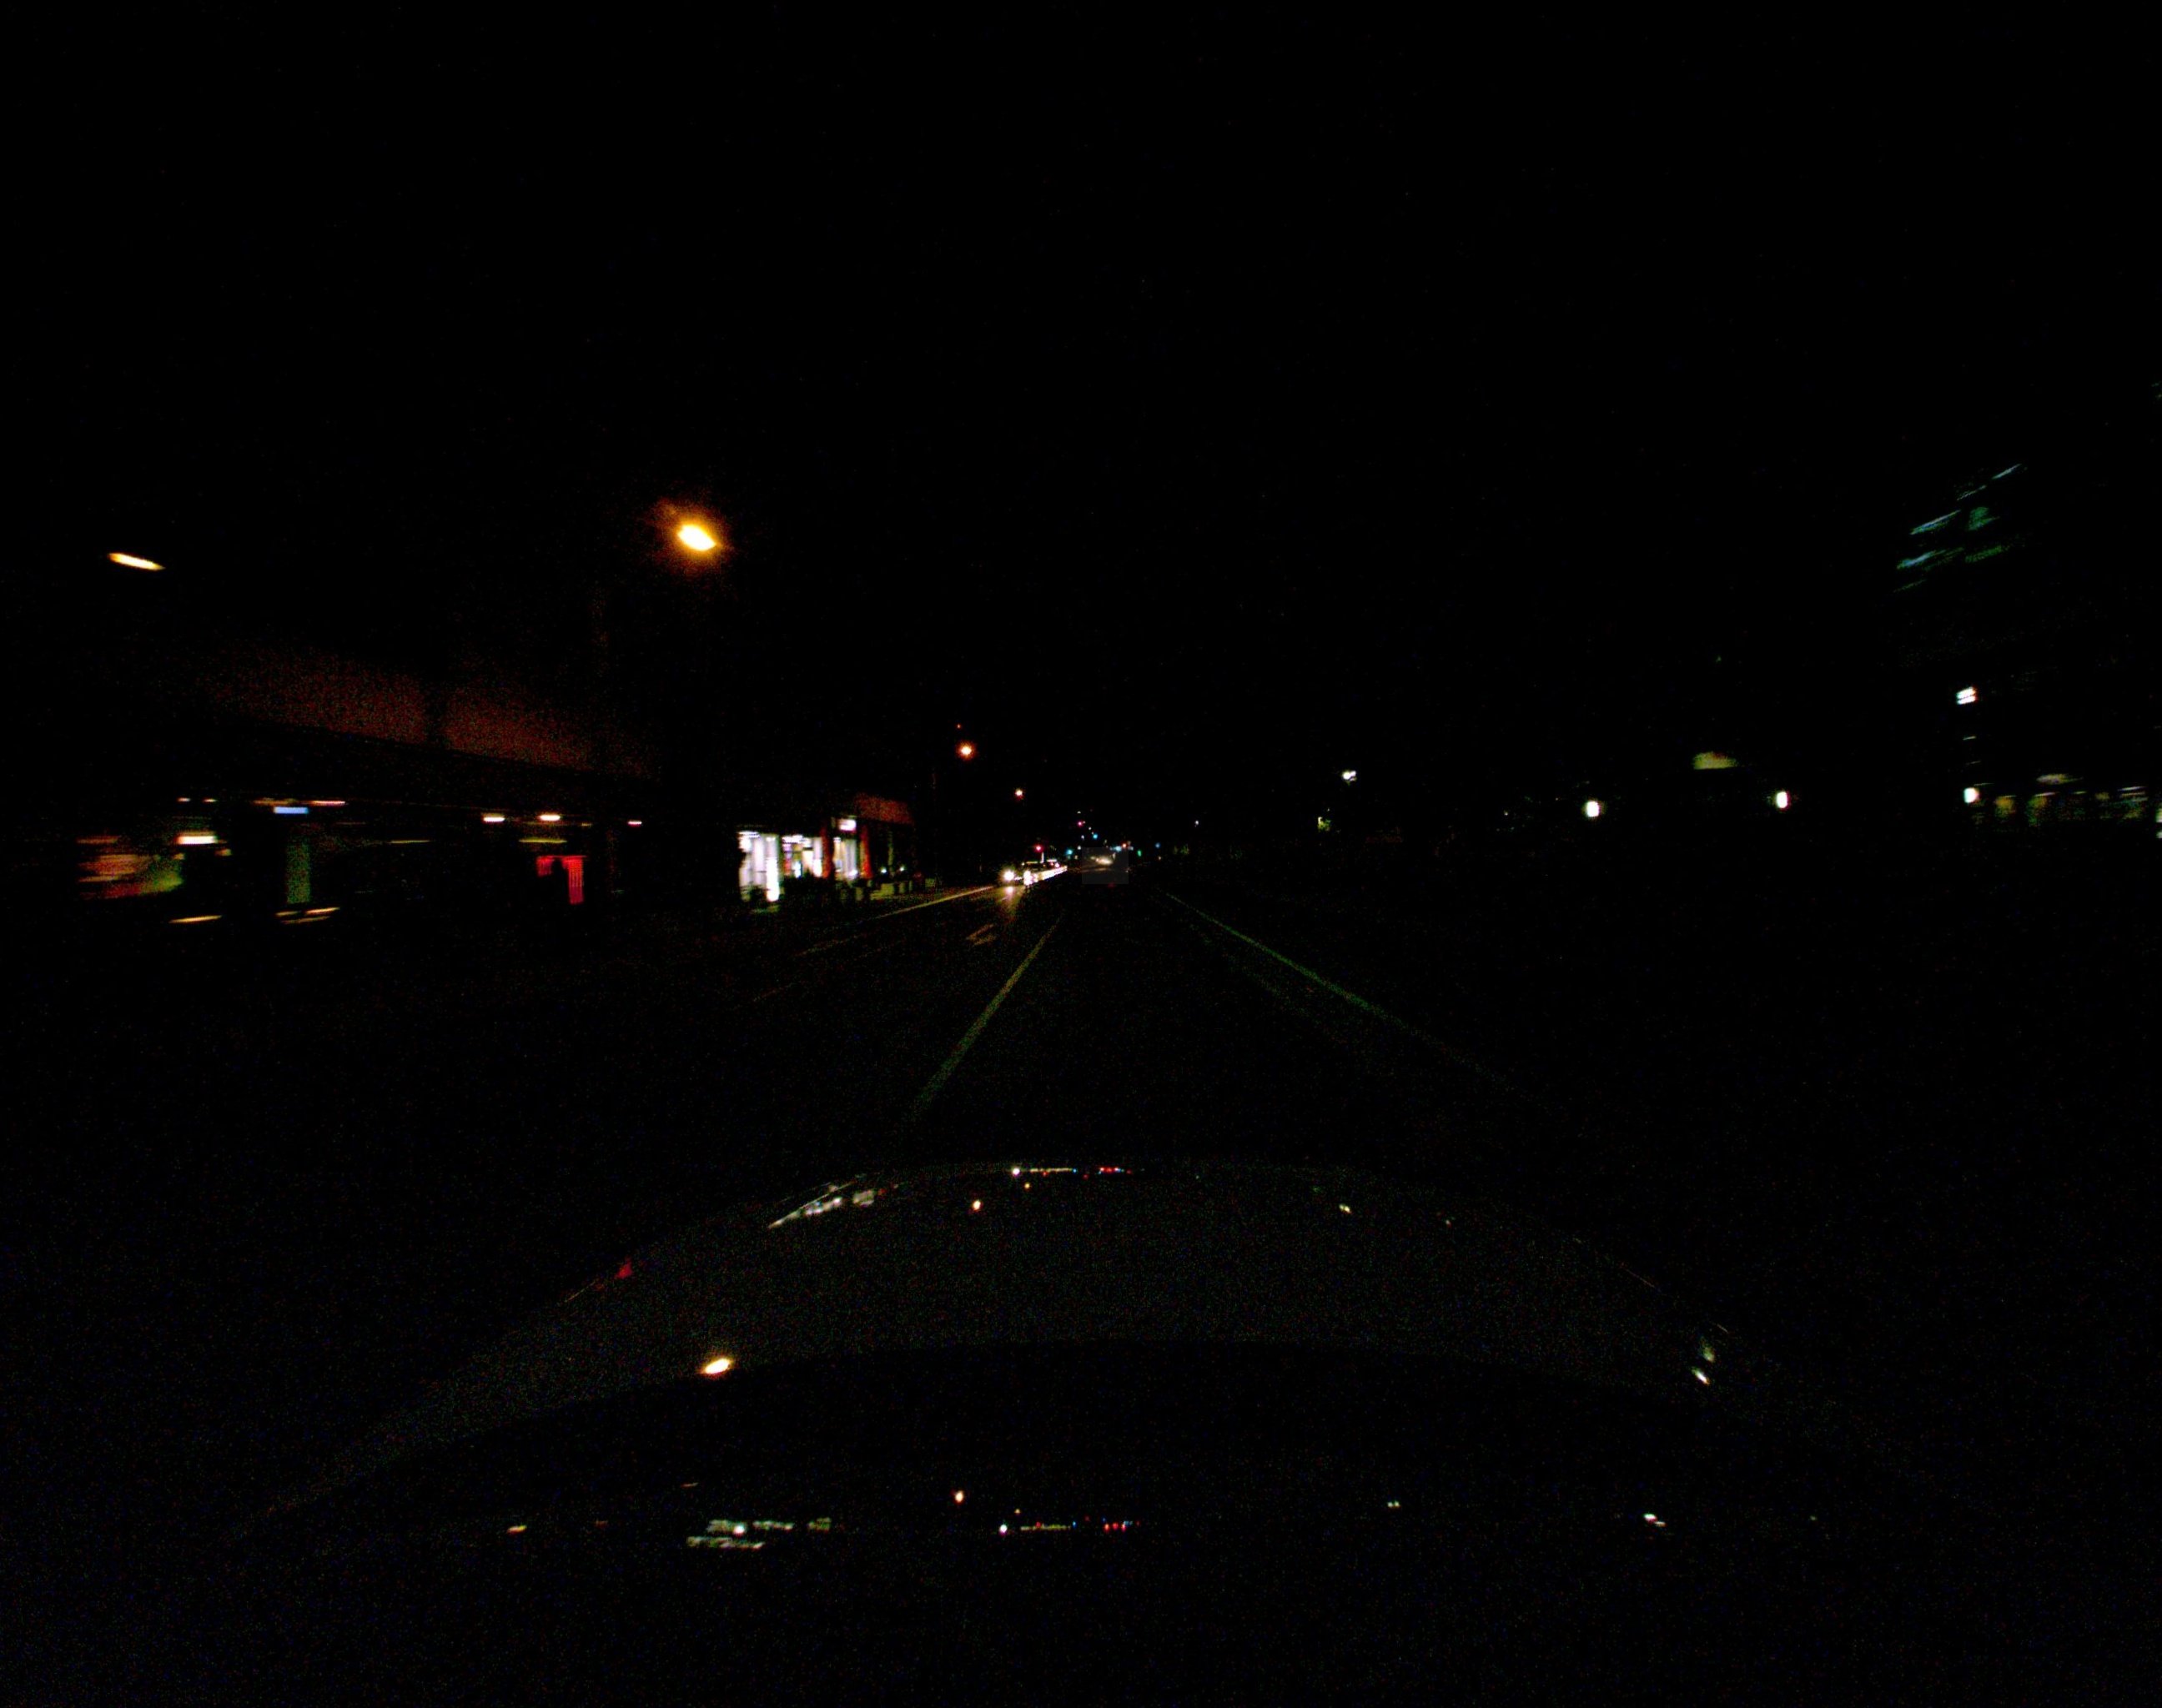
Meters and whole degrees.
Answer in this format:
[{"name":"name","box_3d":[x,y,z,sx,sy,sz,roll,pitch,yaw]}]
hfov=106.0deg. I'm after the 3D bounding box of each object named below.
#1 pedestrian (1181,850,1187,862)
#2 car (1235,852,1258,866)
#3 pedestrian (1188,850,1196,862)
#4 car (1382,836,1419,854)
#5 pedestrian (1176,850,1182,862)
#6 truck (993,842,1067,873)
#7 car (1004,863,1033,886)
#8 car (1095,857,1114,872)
[{"name":"pedestrian","box_3d":[15.805,0.332,124.531,0.736,1.769,0.907,-3,0,1]},{"name":"car","box_3d":[17.446,0.519,86.165,1.507,1.395,4.482,-3,-1,1]},{"name":"pedestrian","box_3d":[16.996,0.295,124.526,0.899,1.769,0.906,-3,0,-4]},{"name":"car","box_3d":[28.644,-0.773,73.096,1.762,1.533,4.099,-3,0,1]},{"name":"pedestrian","box_3d":[14.958,0.303,124.633,0.711,1.769,0.907,-3,0,1]},{"name":"truck","box_3d":[-7.299,0.544,116.837,10.039,3.718,2.766,-4,-1,2]},{"name":"car","box_3d":[-4.454,1.445,58.498,1.661,1.428,4.000,-4,-1,0]},{"name":"car","box_3d":[2.383,1.039,81.455,1.798,1.494,4.732,-1,0,2]}]
